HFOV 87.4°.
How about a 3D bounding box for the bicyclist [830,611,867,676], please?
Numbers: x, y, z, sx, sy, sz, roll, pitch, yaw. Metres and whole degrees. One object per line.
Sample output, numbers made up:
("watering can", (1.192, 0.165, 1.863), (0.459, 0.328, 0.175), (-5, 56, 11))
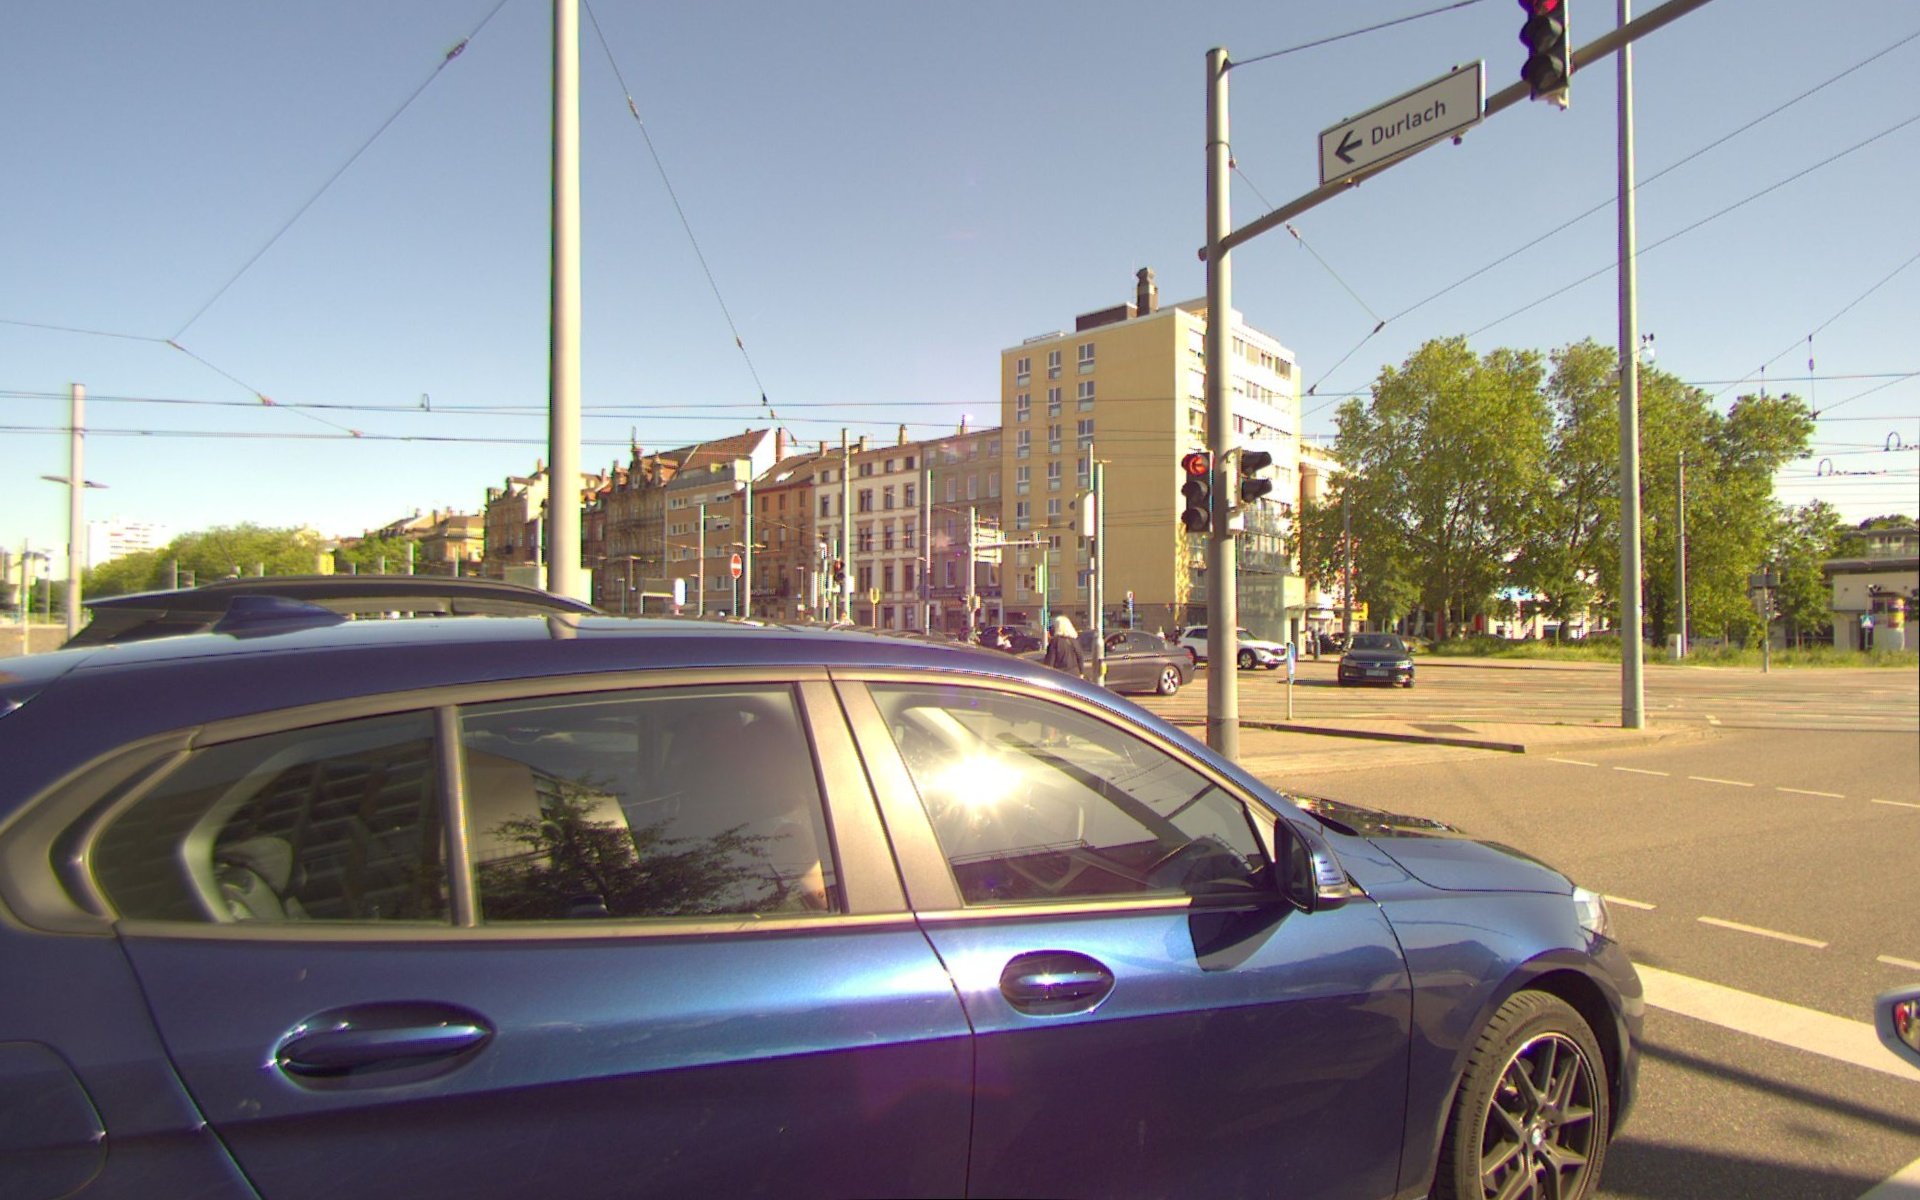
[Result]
("bicyclist", (-2.924, 1.125, 26.407), (0.672, 1.676, 0.777), (1, -2, -35))

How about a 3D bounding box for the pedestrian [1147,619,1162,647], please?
("pedestrian", (11.053, 1.868, 57.158), (0.703, 1.581, 0.556), (-1, -2, 31))

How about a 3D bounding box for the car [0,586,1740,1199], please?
("car", (-0.064, 0.758, 2.432), (3.984, 1.464, 1.703), (2, 0, -30))

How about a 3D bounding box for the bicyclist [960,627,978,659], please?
("bicyclist", (0.403, 1.986, 46.160), (0.609, 1.462, 0.614), (1, -2, -30))

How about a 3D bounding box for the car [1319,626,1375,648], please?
("car", (29.735, 2.820, 77.229), (3.690, 1.684, 1.586), (-1, -2, 42))

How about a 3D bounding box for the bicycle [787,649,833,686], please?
("bicycle", (-3.894, 1.727, 25.976), (0.669, 0.890, 1.887), (1, -2, -25))

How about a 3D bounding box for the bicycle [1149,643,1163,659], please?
("bicycle", (11.139, 2.891, 57.081), (0.478, 0.822, 1.612), (0, -2, 23))

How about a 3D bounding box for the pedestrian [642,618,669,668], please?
("pedestrian", (-10.780, 1.519, 35.567), (0.672, 1.735, 0.793), (1, -2, -38))

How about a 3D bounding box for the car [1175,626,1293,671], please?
("car", (10.774, 1.877, 39.746), (1.842, 1.675, 4.260), (2, -2, -38))

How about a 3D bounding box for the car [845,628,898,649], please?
("car", (-6.533, 2.846, 74.368), (1.749, 1.446, 3.863), (-1, -2, 39))

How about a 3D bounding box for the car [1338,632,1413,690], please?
("car", (11.378, 1.612, 27.714), (1.693, 1.457, 4.177), (0, -2, 20))

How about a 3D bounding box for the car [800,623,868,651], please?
("car", (-7.872, 2.296, 62.488), (4.244, 1.675, 1.849), (-1, -2, 40))

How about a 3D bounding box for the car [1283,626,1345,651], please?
("car", (24.269, 2.603, 68.912), (3.690, 1.684, 1.586), (-1, -2, 42))

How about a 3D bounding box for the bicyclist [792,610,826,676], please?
("bicyclist", (-3.922, 1.100, 26.042), (0.669, 1.676, 0.780), (1, -2, -26))

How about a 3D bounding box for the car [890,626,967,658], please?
("car", (-1.782, 2.319, 56.219), (4.246, 1.675, 1.848), (-1, -2, 42))

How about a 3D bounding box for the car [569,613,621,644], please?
("car", (-34.307, 2.694, 94.342), (5.838, 2.780, 2.133), (-1, -2, 42))

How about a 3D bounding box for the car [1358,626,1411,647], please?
("car", (34.718, 2.999, 82.265), (3.690, 1.684, 1.586), (-1, -2, 42))

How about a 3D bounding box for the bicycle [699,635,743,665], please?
("bicycle", (-9.161, 1.916, 38.507), (1.871, 1.120, 0.675), (-1, -2, 42))

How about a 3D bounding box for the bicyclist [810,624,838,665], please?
("bicyclist", (-4.852, 1.582, 35.891), (0.673, 1.474, 0.775), (2, -2, -42))

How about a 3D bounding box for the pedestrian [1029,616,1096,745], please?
("pedestrian", (1.278, 0.988, 12.485), (0.748, 1.575, 0.356), (1, -1, -16))

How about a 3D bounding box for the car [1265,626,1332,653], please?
("car", (21.450, 2.485, 63.718), (3.690, 1.684, 1.586), (-1, -2, 42))

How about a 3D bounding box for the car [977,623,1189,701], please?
("car", (2.713, 1.276, 21.603), (4.524, 1.521, 1.846), (2, -2, -36))

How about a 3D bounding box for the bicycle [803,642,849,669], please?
("bicycle", (-4.797, 1.972, 35.793), (0.673, 0.890, 1.875), (2, -2, -42))

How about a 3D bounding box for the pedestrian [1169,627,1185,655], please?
("pedestrian", (12.112, 2.279, 56.065), (0.754, 1.581, 0.614), (-1, -2, 32))

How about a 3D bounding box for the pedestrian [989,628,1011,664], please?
("pedestrian", (1.812, 2.052, 45.106), (0.669, 1.593, 0.740), (2, -2, -45))

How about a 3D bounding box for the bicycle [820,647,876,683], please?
("bicycle", (-2.970, 1.699, 26.471), (0.672, 0.890, 1.880), (1, -2, -35))

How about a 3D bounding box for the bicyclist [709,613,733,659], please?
("bicyclist", (-9.163, 1.374, 38.514), (0.609, 1.735, 0.675), (-1, -2, 41))

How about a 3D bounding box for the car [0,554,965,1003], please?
("car", (-2.130, 0.657, 5.056), (3.959, 1.537, 1.751), (1, -1, -28))

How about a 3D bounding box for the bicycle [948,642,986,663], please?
("bicycle", (0.313, 2.392, 46.092), (1.666, 0.958, 0.614), (1, -2, -30))
